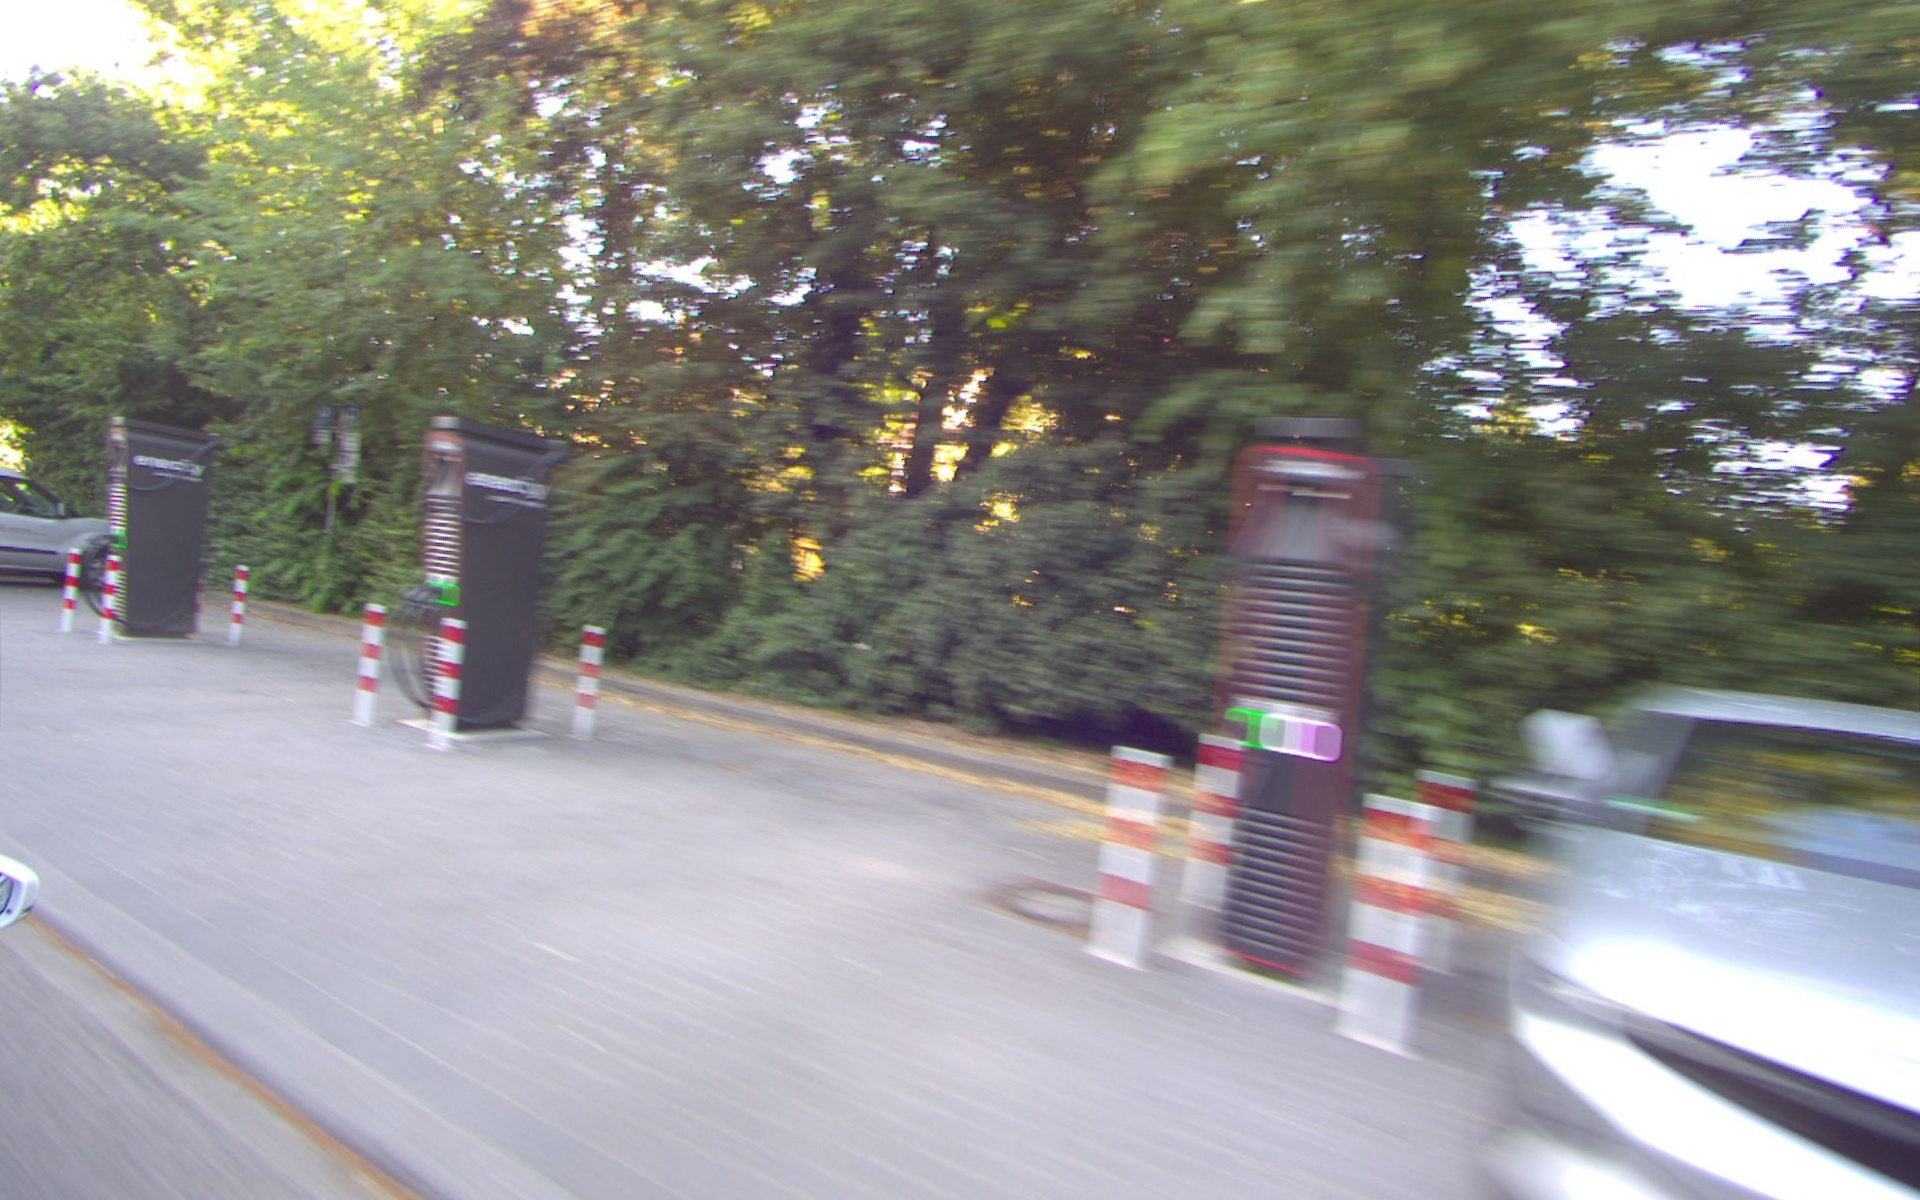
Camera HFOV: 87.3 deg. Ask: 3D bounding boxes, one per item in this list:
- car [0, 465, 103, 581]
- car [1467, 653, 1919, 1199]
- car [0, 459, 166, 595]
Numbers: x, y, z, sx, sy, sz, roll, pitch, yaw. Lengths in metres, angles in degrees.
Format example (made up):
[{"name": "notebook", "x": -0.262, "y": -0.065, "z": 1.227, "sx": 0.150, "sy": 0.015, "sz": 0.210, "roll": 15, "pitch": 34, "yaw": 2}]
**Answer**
[{"name": "car", "x": -17.143, "y": -1.441, "z": 16.756, "sx": 1.588, "sy": 1.859, "sz": 4.025, "roll": 7, "pitch": 1, "yaw": 33}, {"name": "car", "x": 2.902, "y": 1.047, "z": 3.394, "sx": 1.753, "sy": 1.488, "sz": 4.445, "roll": 7, "pitch": 0, "yaw": 31}, {"name": "car", "x": -15.038, "y": -1.217, "z": 15.268, "sx": 1.968, "sy": 1.883, "sz": 4.230, "roll": 6, "pitch": 1, "yaw": 33}]
